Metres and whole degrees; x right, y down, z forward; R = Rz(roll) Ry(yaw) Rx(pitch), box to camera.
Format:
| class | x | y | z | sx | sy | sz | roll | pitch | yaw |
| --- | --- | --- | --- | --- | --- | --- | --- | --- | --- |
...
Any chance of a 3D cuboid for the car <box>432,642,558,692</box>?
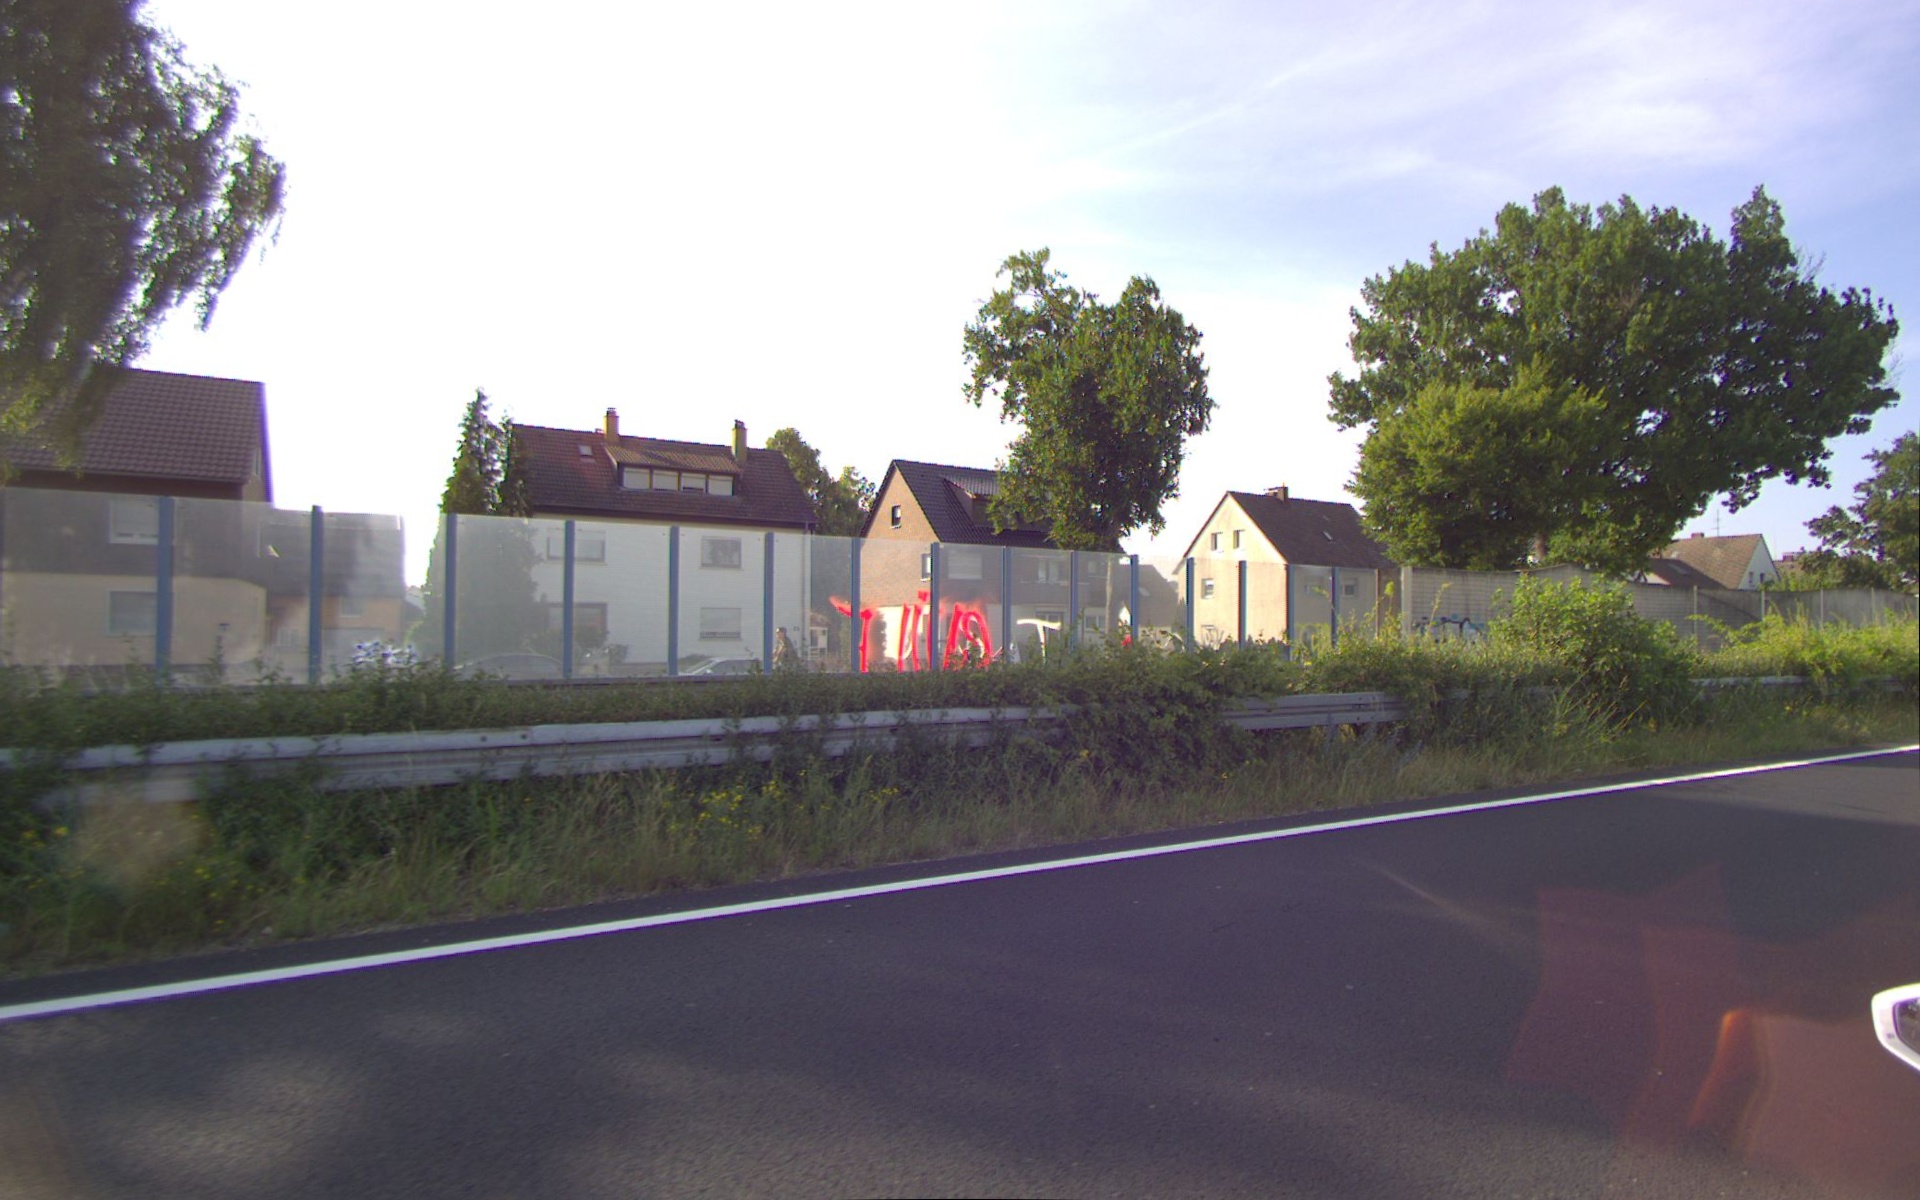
| class | x | y | z | sx | sy | sz | roll | pitch | yaw |
| --- | --- | --- | --- | --- | --- | --- | --- | --- | --- |
| car | -12.293 | 1.751 | 26.556 | 2.865 | 1.192 | 1.564 | 2 | 0 | -31 |

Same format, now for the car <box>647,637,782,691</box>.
| class | x | y | z | sx | sy | sz | roll | pitch | yaw |
| --- | --- | --- | --- | --- | --- | --- | --- | --- | --- |
| car | -7.280 | 1.878 | 29.843 | 3.605 | 1.456 | 1.511 | 2 | 0 | -30 |

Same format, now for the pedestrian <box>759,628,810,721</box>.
| class | x | y | z | sx | sy | sz | roll | pitch | yaw |
| --- | --- | --- | --- | --- | --- | --- | --- | --- | --- |
| pedestrian | -4.058 | 1.700 | 23.207 | 0.922 | 2.077 | 0.663 | 2 | 0 | -30 |
